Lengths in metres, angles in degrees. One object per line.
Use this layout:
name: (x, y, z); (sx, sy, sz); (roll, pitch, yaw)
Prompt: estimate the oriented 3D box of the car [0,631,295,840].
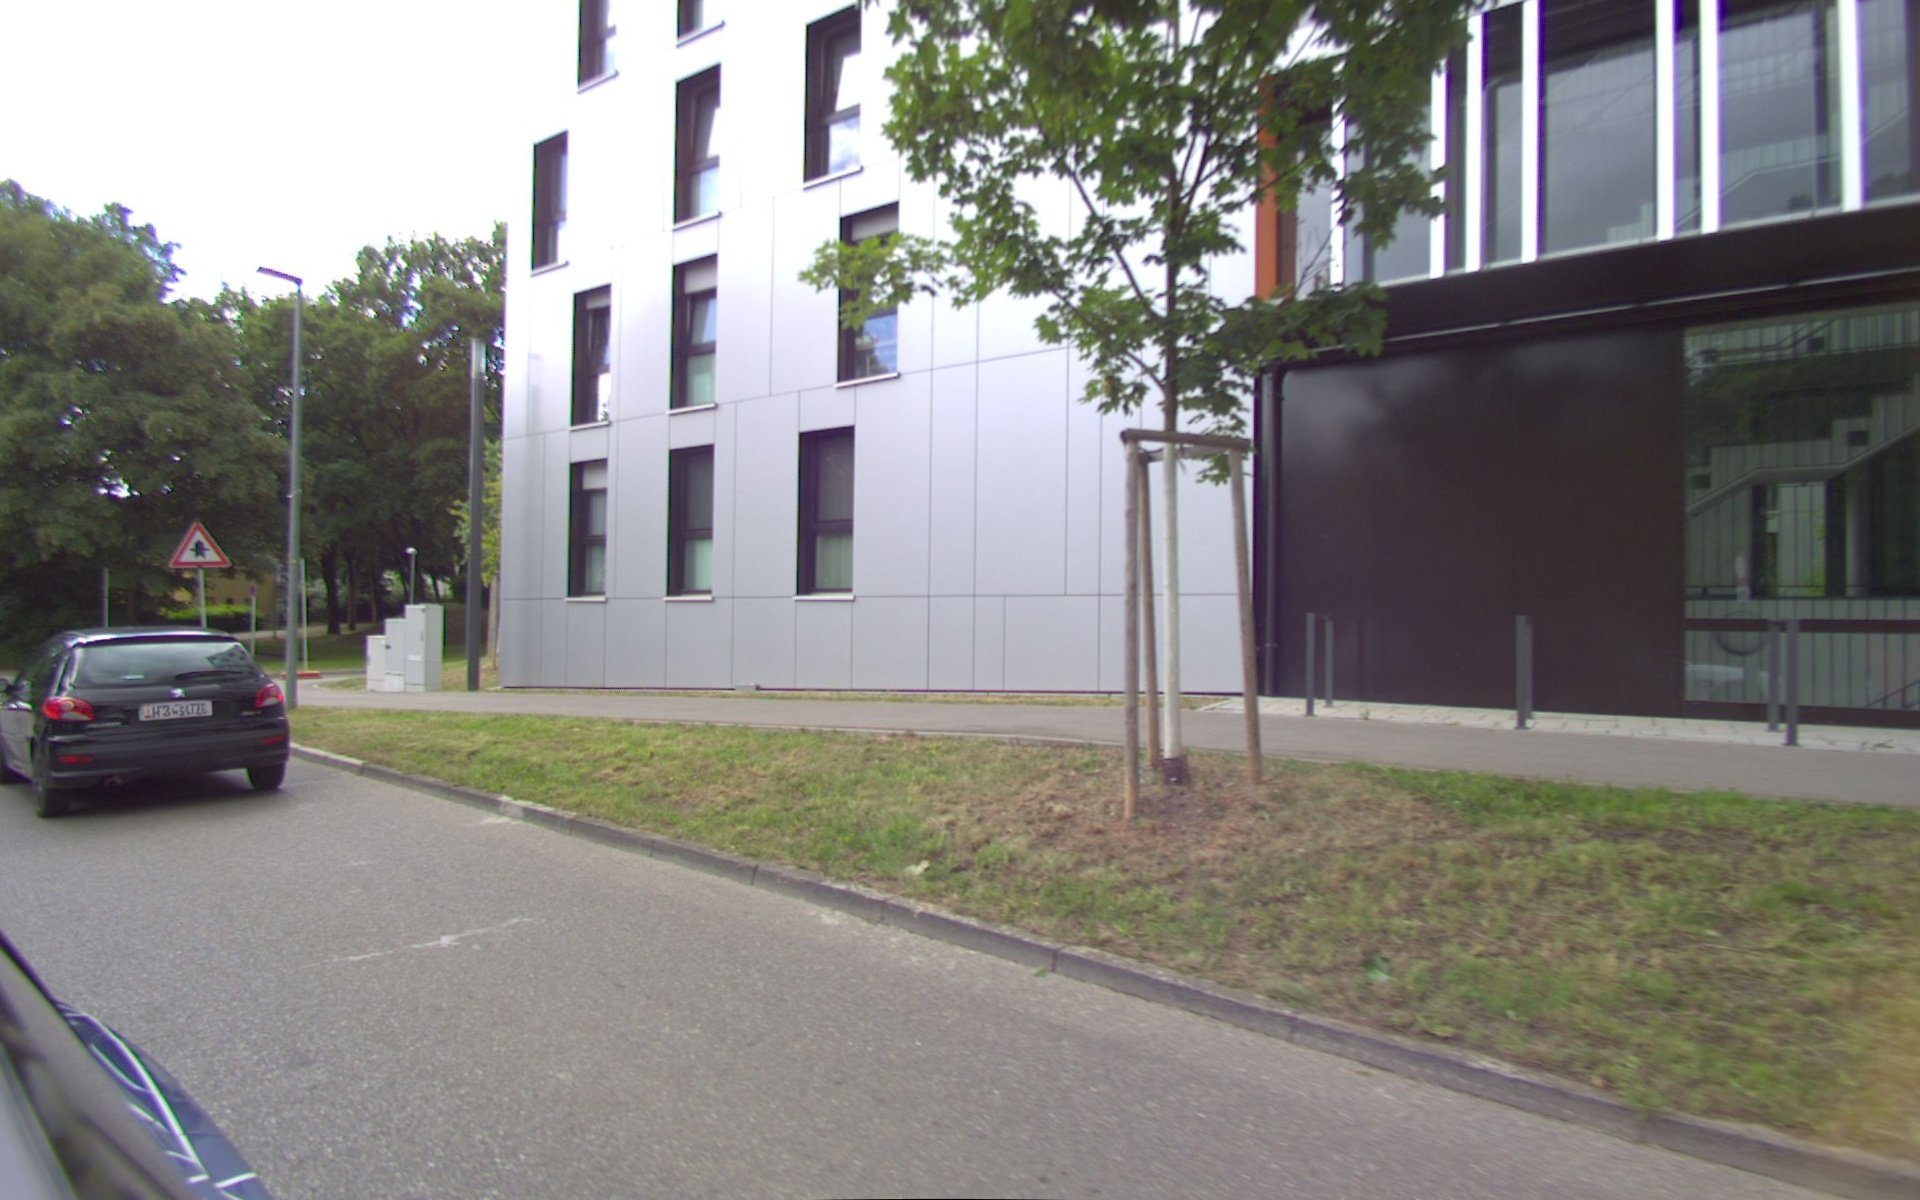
car: (-7.436, 0.999, 8.936); (3.997, 1.398, 1.592); (-1, -1, 41)
